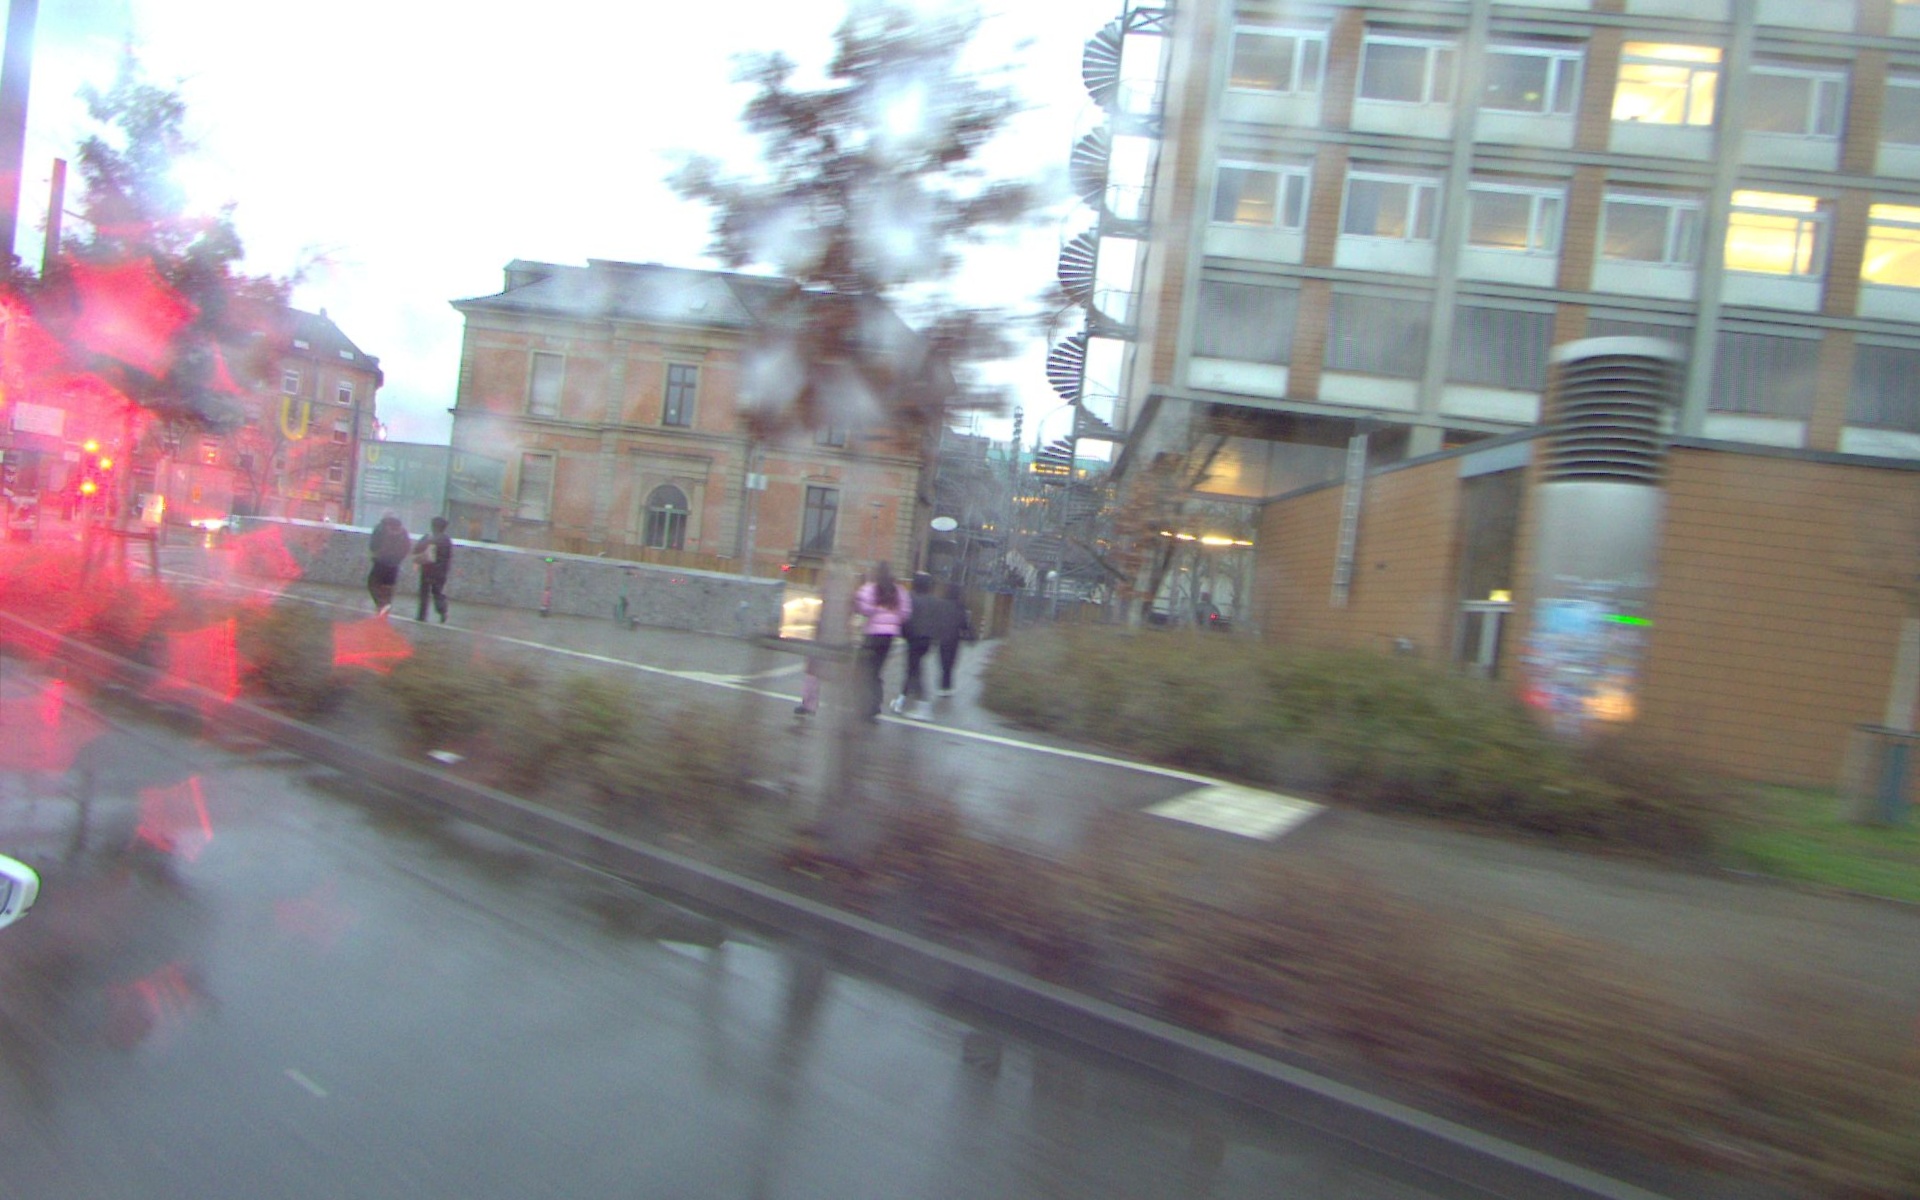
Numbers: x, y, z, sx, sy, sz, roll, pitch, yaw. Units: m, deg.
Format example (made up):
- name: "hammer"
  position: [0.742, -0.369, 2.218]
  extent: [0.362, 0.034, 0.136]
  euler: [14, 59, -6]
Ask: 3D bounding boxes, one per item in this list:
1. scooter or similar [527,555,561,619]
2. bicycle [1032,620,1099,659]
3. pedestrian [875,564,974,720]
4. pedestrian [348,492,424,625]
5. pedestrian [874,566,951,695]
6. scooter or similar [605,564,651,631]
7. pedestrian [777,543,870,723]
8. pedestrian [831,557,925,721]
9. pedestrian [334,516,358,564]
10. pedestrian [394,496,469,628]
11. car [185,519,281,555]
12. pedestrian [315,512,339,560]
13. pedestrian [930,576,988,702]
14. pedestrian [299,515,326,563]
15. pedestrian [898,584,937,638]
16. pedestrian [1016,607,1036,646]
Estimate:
- name: "scooter or similar"
  position: [-8.647, -0.280, 20.922]
  extent: [0.507, 1.229, 1.376]
  euler: [6, 0, -21]
- name: "bicycle"
  position: [3.418, 1.282, 32.561]
  extent: [2.021, 1.004, 0.708]
  euler: [7, 1, 8]
- name: "pedestrian"
  position: [-0.421, 0.485, 11.801]
  extent: [0.713, 1.709, 0.753]
  euler: [6, 1, -33]
- name: "pedestrian"
  position: [-9.127, -0.665, 15.991]
  extent: [0.802, 1.954, 0.753]
  euler: [8, 2, -32]
- name: "pedestrian"
  position: [-0.705, 0.454, 15.176]
  extent: [0.735, 1.814, 0.854]
  euler: [7, 1, 15]
- name: "scooter or similar"
  position: [-6.712, -0.064, 20.303]
  extent: [0.508, 1.229, 1.372]
  euler: [6, 0, -30]
- name: "pedestrian"
  position: [-1.447, 0.336, 10.601]
  extent: [0.579, 1.805, 0.762]
  euler: [4, 2, -32]
- name: "pedestrian"
  position: [-0.911, 0.425, 11.040]
  extent: [0.662, 1.711, 0.606]
  euler: [4, 4, -32]
- name: "pedestrian"
  position: [-26.638, -2.589, 43.652]
  extent: [0.670, 1.975, 0.657]
  euler: [6, 1, -29]
- name: "pedestrian"
  position: [-8.706, -0.631, 16.567]
  extent: [0.802, 2.039, 0.753]
  euler: [8, 2, -32]
- name: "car"
  position: [-45.138, -3.884, 62.600]
  extent: [1.707, 1.677, 4.816]
  euler: [7, 0, 13]
- name: "pedestrian"
  position: [-27.273, -2.764, 43.328]
  extent: [0.670, 1.975, 0.657]
  euler: [6, 1, -28]
- name: "pedestrian"
  position: [-0.012, 0.582, 15.149]
  extent: [0.549, 1.814, 0.584]
  euler: [6, 1, 15]
- name: "pedestrian"
  position: [-28.331, -2.652, 44.035]
  extent: [0.668, 1.975, 0.674]
  euler: [6, 1, -16]
- name: "pedestrian"
  position: [-1.436, 0.390, 34.228]
  extent: [0.788, 1.726, 0.916]
  euler: [7, 1, 29]
- name: "pedestrian"
  position: [3.005, 1.214, 45.921]
  extent: [0.652, 1.678, 0.788]
  euler: [6, 1, -3]
